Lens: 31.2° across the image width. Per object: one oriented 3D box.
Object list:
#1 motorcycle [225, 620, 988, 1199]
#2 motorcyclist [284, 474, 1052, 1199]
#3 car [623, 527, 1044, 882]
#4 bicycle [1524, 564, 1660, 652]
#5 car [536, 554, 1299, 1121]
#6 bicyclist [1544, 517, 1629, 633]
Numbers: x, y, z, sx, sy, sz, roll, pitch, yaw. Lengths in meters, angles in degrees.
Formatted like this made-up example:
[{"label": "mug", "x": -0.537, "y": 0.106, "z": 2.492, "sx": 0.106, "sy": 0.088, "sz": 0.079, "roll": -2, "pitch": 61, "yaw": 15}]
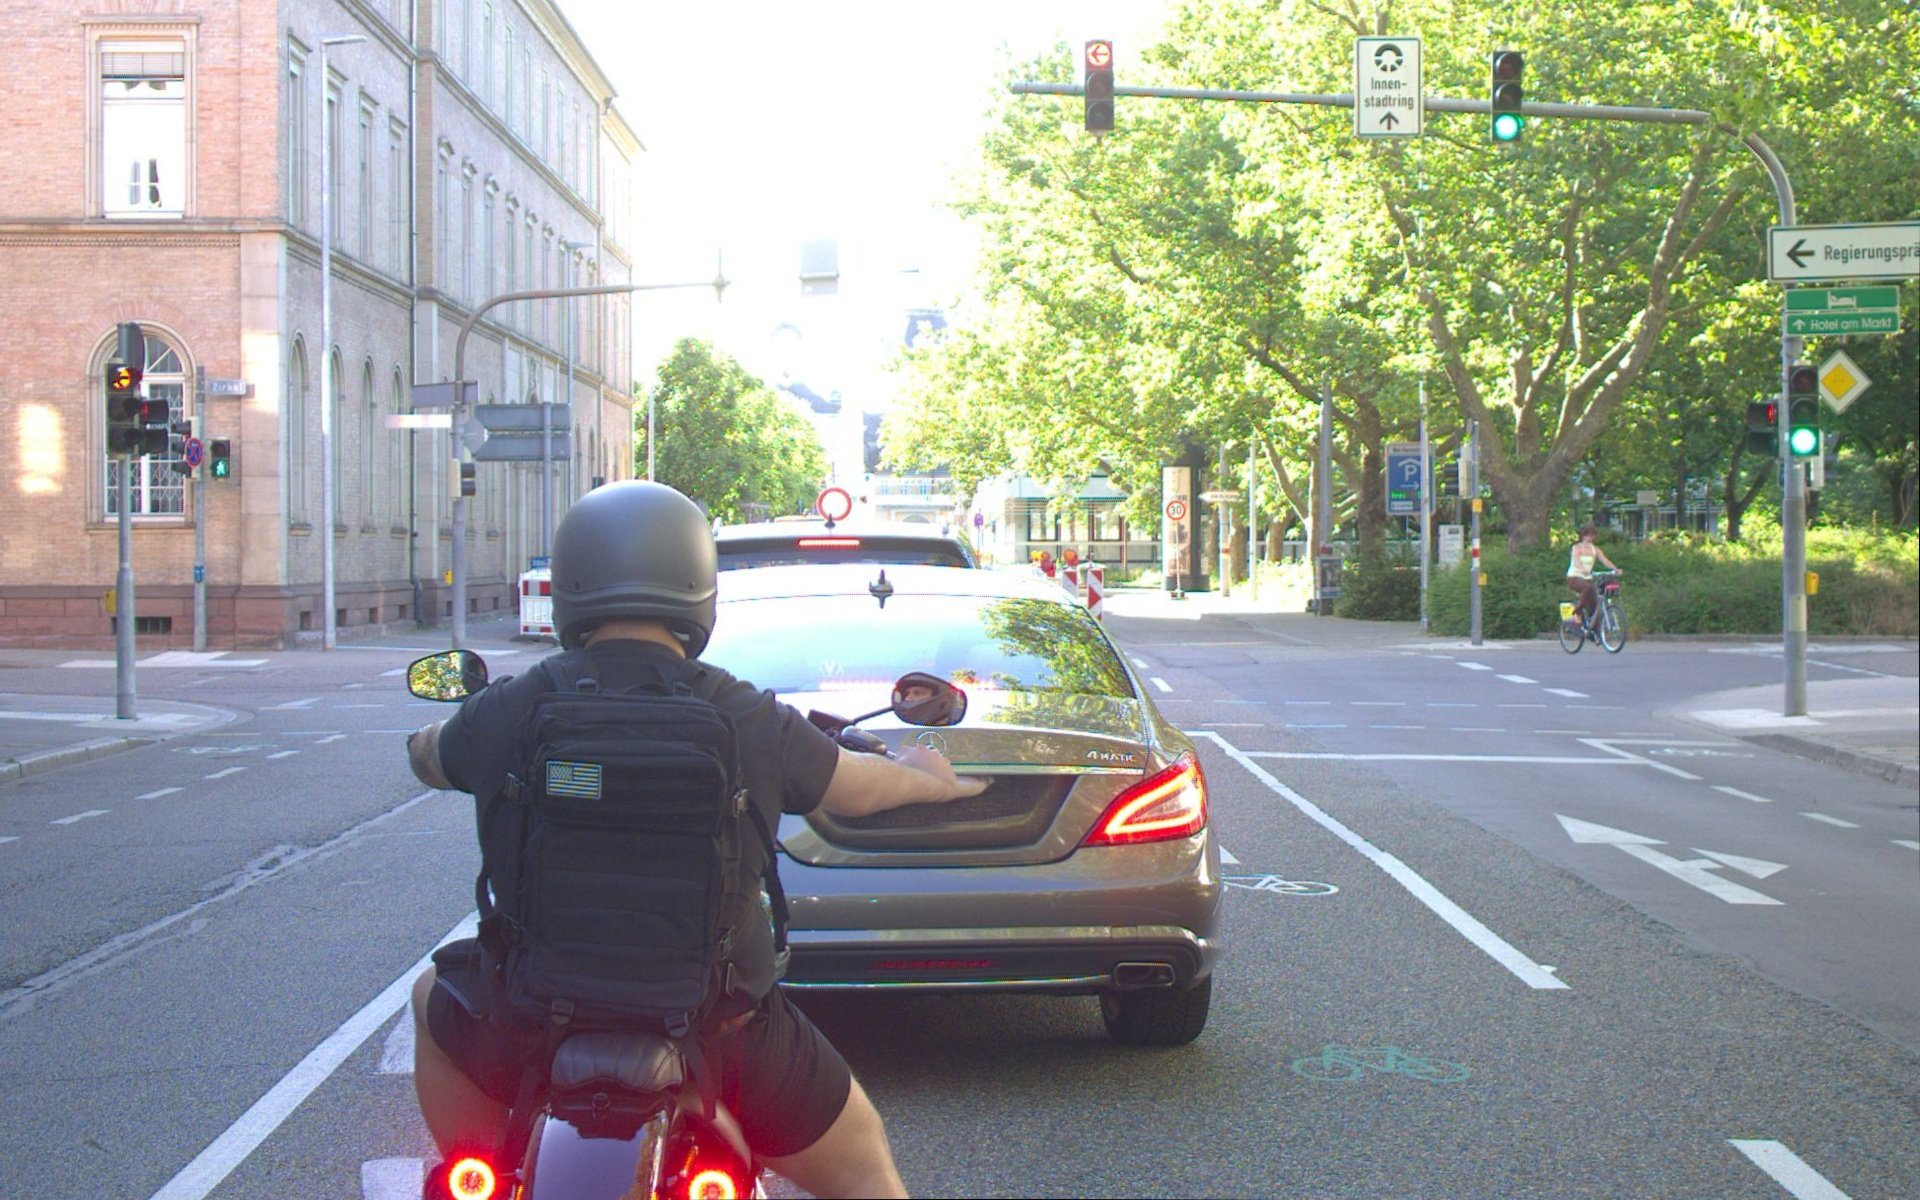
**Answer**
[{"label": "motorcycle", "x": -0.468, "y": 0.733, "z": 5.541, "sx": 0.962, "sy": 1.352, "sz": 2.320, "roll": 1, "pitch": 1, "yaw": -1}, {"label": "motorcyclist", "x": -0.418, "y": 0.615, "z": 5.269, "sx": 1.061, "sy": 1.577, "sz": 0.908, "roll": 1, "pitch": 0, "yaw": -1}, {"label": "car", "x": -0.650, "y": 0.414, "z": 16.771, "sx": 1.813, "sy": 1.530, "sz": 3.849, "roll": 0, "pitch": 1, "yaw": -3}, {"label": "bicycle", "x": 8.656, "y": 0.094, "z": 47.165, "sx": 0.715, "sy": 1.168, "sz": 2.176, "roll": 1, "pitch": 1, "yaw": -24}, {"label": "car", "x": -0.356, "y": 0.582, "z": 11.108, "sx": 1.901, "sy": 1.436, "sz": 4.290, "roll": 0, "pitch": 1, "yaw": -8}, {"label": "bicyclist", "x": 8.616, "y": -0.349, "z": 47.274, "sx": 0.716, "sy": 1.577, "sz": 0.936, "roll": 1, "pitch": 0, "yaw": -24}]
